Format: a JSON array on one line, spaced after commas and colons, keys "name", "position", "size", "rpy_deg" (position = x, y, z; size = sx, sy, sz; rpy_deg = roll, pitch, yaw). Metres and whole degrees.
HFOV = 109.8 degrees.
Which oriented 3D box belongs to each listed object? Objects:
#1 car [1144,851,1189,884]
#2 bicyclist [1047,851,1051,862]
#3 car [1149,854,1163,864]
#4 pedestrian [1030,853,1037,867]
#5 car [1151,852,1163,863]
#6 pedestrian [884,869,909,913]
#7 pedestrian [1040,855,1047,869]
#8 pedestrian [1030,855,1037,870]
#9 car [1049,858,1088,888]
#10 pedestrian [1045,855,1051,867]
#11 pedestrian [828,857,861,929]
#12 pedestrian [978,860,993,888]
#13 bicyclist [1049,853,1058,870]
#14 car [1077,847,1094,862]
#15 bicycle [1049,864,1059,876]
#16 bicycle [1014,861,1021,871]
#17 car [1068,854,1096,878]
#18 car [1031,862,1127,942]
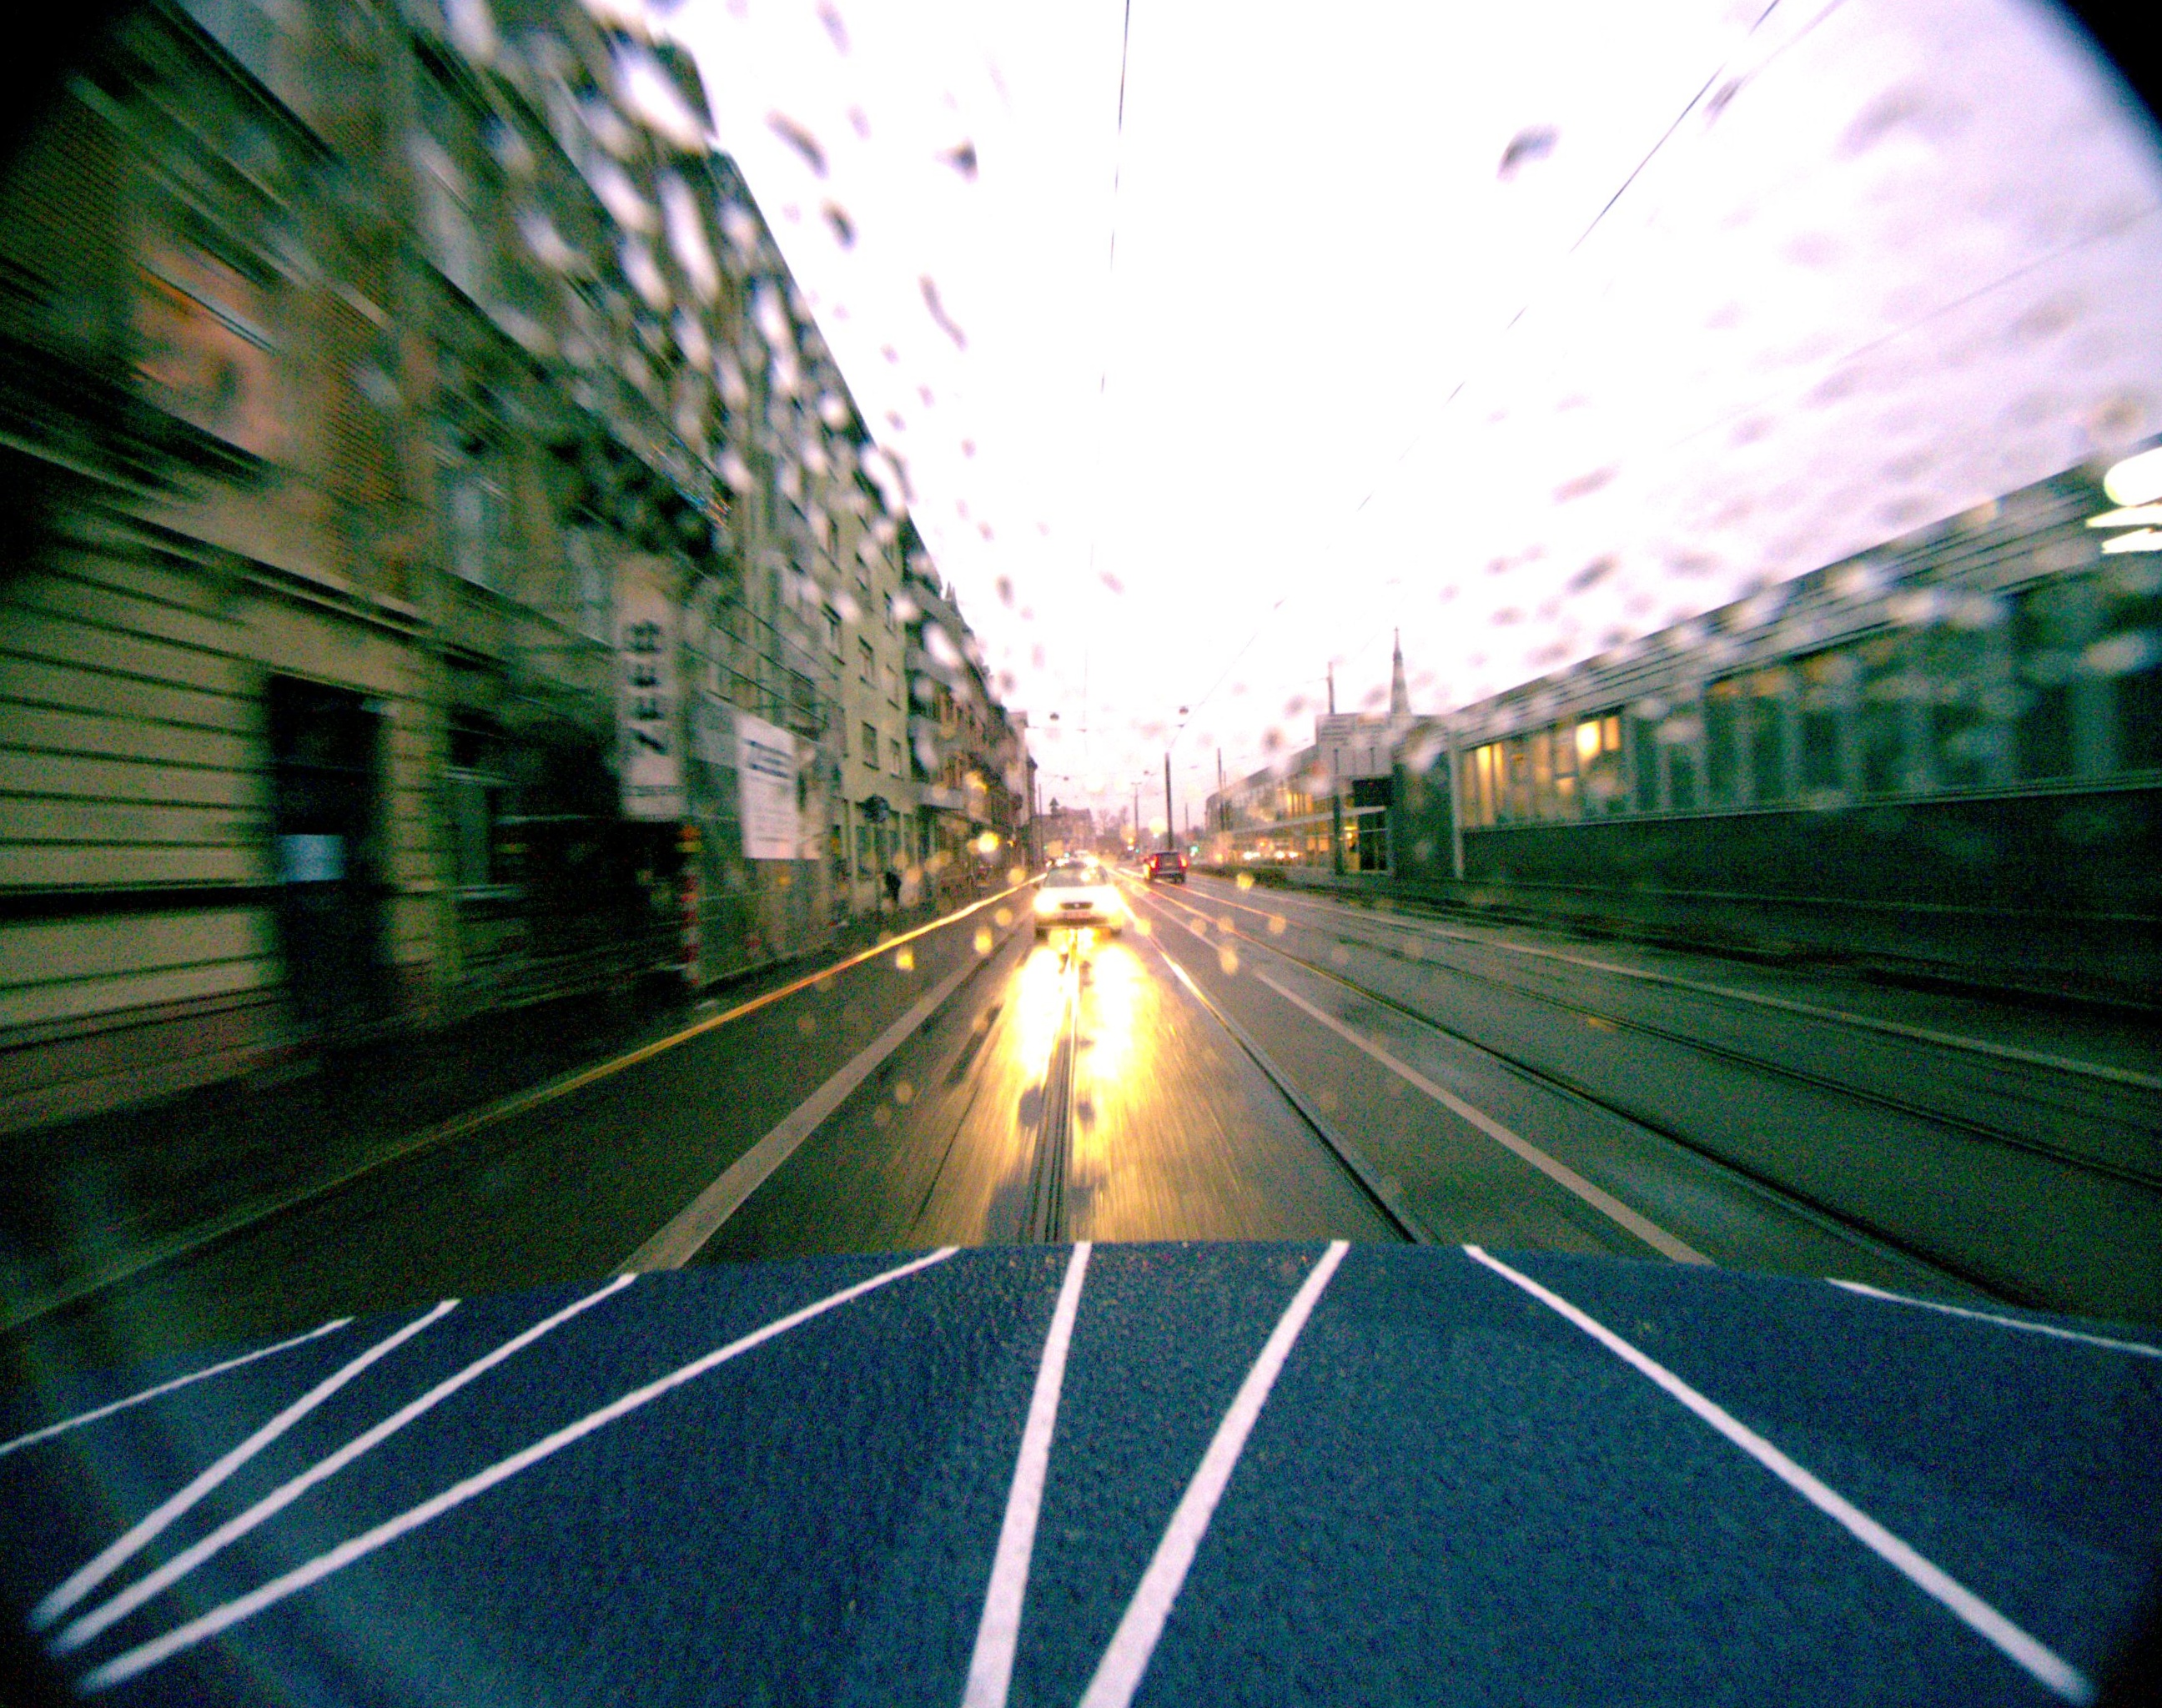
[{"name": "car", "position": [4.602, 0.704, 41.492], "size": [1.880, 1.700, 4.760], "rpy_deg": [-1, 0, 0]}, {"name": "bicyclist", "position": [-5.947, 0.436, 140.423], "size": [0.747, 1.869, 1.111], "rpy_deg": [-2, 1, -2]}, {"name": "car", "position": [11.909, 0.791, 121.001], "size": [1.845, 1.569, 4.442], "rpy_deg": [-2, 0, 2]}, {"name": "pedestrian", "position": [-5.784, 0.726, 92.550], "size": [0.777, 1.734, 0.673], "rpy_deg": [-1, 1, 1]}, {"name": "car", "position": [14.238, 0.613, 141.733], "size": [1.998, 2.002, 4.685], "rpy_deg": [-3, 1, 4]}, {"name": "pedestrian", "position": [-6.114, 1.220, 25.199], "size": [0.601, 1.369, 0.728], "rpy_deg": [-3, 1, 0]}, {"name": "pedestrian", "position": [-4.569, 0.953, 92.400], "size": [0.777, 1.734, 0.673], "rpy_deg": [-1, 1, 1]}, {"name": "pedestrian", "position": [-5.703, 1.013, 91.655], "size": [0.777, 1.734, 0.673], "rpy_deg": [-1, 1, 1]}, {"name": "car", "position": [-0.629, 0.968, 40.919], "size": [1.797, 1.415, 4.000], "rpy_deg": [-2, 0, 2]}, {"name": "pedestrian", "position": [-4.330, 0.972, 100.146], "size": [0.633, 1.539, 0.710], "rpy_deg": [-2, 1, -6]}, {"name": "pedestrian", "position": [-6.136, 1.000, 19.718], "size": [0.601, 1.807, 0.774], "rpy_deg": [-3, 1, -27]}, {"name": "pedestrian", "position": [-5.552, 1.181, 44.181], "size": [0.788, 1.588, 0.742], "rpy_deg": [-2, 0, -1]}, {"name": "bicyclist", "position": [-2.520, 0.725, 70.169], "size": [0.727, 1.525, 0.785], "rpy_deg": [-2, 1, 0]}, {"name": "car", "position": [0.556, 0.096, 97.539], "size": [2.018, 1.809, 3.688], "rpy_deg": [-3, 1, 1]}, {"name": "bicycle", "position": [-2.487, 1.473, 70.241], "size": [0.725, 0.985, 2.212], "rpy_deg": [-2, 0, 0]}, {"name": "bicycle", "position": [-6.069, 1.149, 72.634], "size": [0.398, 0.905, 1.866], "rpy_deg": [-2, 0, 0]}, {"name": "car", "position": [0.108, 0.789, 53.165], "size": [1.824, 1.565, 4.000], "rpy_deg": [-2, 0, 1]}, {"name": "car", "position": [0.043, 0.954, 16.688], "size": [1.797, 1.415, 4.000], "rpy_deg": [-2, 0, 2]}]
